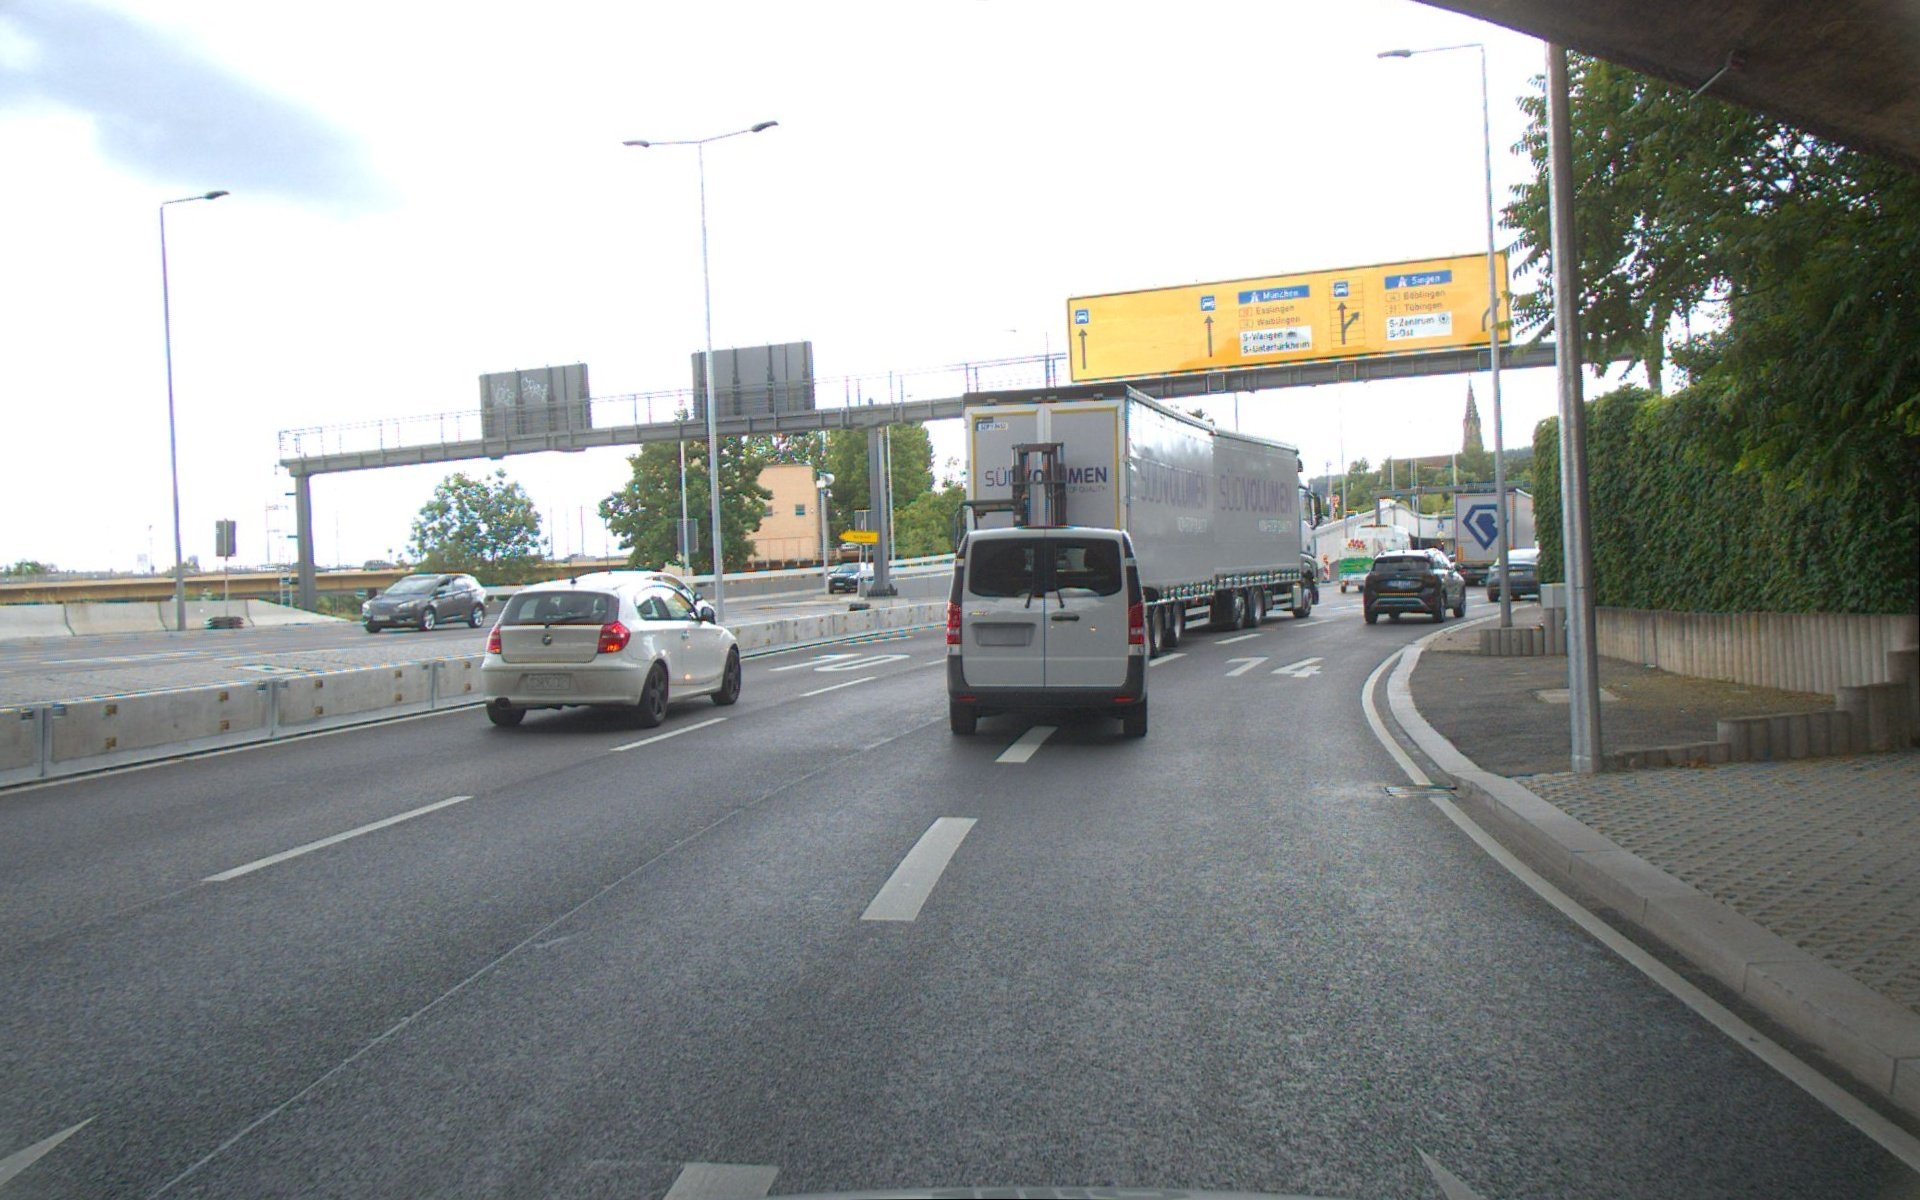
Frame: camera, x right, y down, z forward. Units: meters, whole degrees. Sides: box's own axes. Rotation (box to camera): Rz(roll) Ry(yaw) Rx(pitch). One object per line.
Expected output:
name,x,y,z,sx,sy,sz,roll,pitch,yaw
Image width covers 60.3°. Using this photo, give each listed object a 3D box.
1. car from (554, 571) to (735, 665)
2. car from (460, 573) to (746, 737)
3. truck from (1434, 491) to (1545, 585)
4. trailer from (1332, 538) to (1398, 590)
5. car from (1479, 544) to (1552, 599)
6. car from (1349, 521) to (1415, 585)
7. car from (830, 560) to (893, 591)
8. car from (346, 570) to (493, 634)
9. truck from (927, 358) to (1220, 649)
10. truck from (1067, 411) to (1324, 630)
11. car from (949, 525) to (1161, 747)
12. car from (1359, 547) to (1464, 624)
car,-5.379,0.290,28.696,1.542,1.510,4.000,-1,0,14
car,-3.557,0.471,17.221,1.603,1.458,3.986,0,1,8
truck,25.056,-2.814,77.532,3.250,3.875,16.588,0,1,24
trailer,16.299,-1.449,66.419,1.953,1.991,4.078,0,1,23
car,16.099,-0.823,47.831,1.472,1.494,3.395,-1,1,27
car,18.022,-1.993,70.474,1.953,2.586,5.173,0,1,23
car,-5.282,-1.327,89.314,1.951,1.608,4.515,-1,1,16
car,-14.524,0.020,44.655,1.699,1.608,4.152,-1,1,16
truck,2.359,-1.418,28.534,2.856,4.087,10.207,-1,1,17
truck,5.755,-1.623,37.920,2.927,4.249,11.236,0,1,24
car,0.994,0.247,16.739,1.837,1.924,4.756,0,1,4
car,10.291,-0.357,37.507,1.714,1.653,3.843,0,1,24
